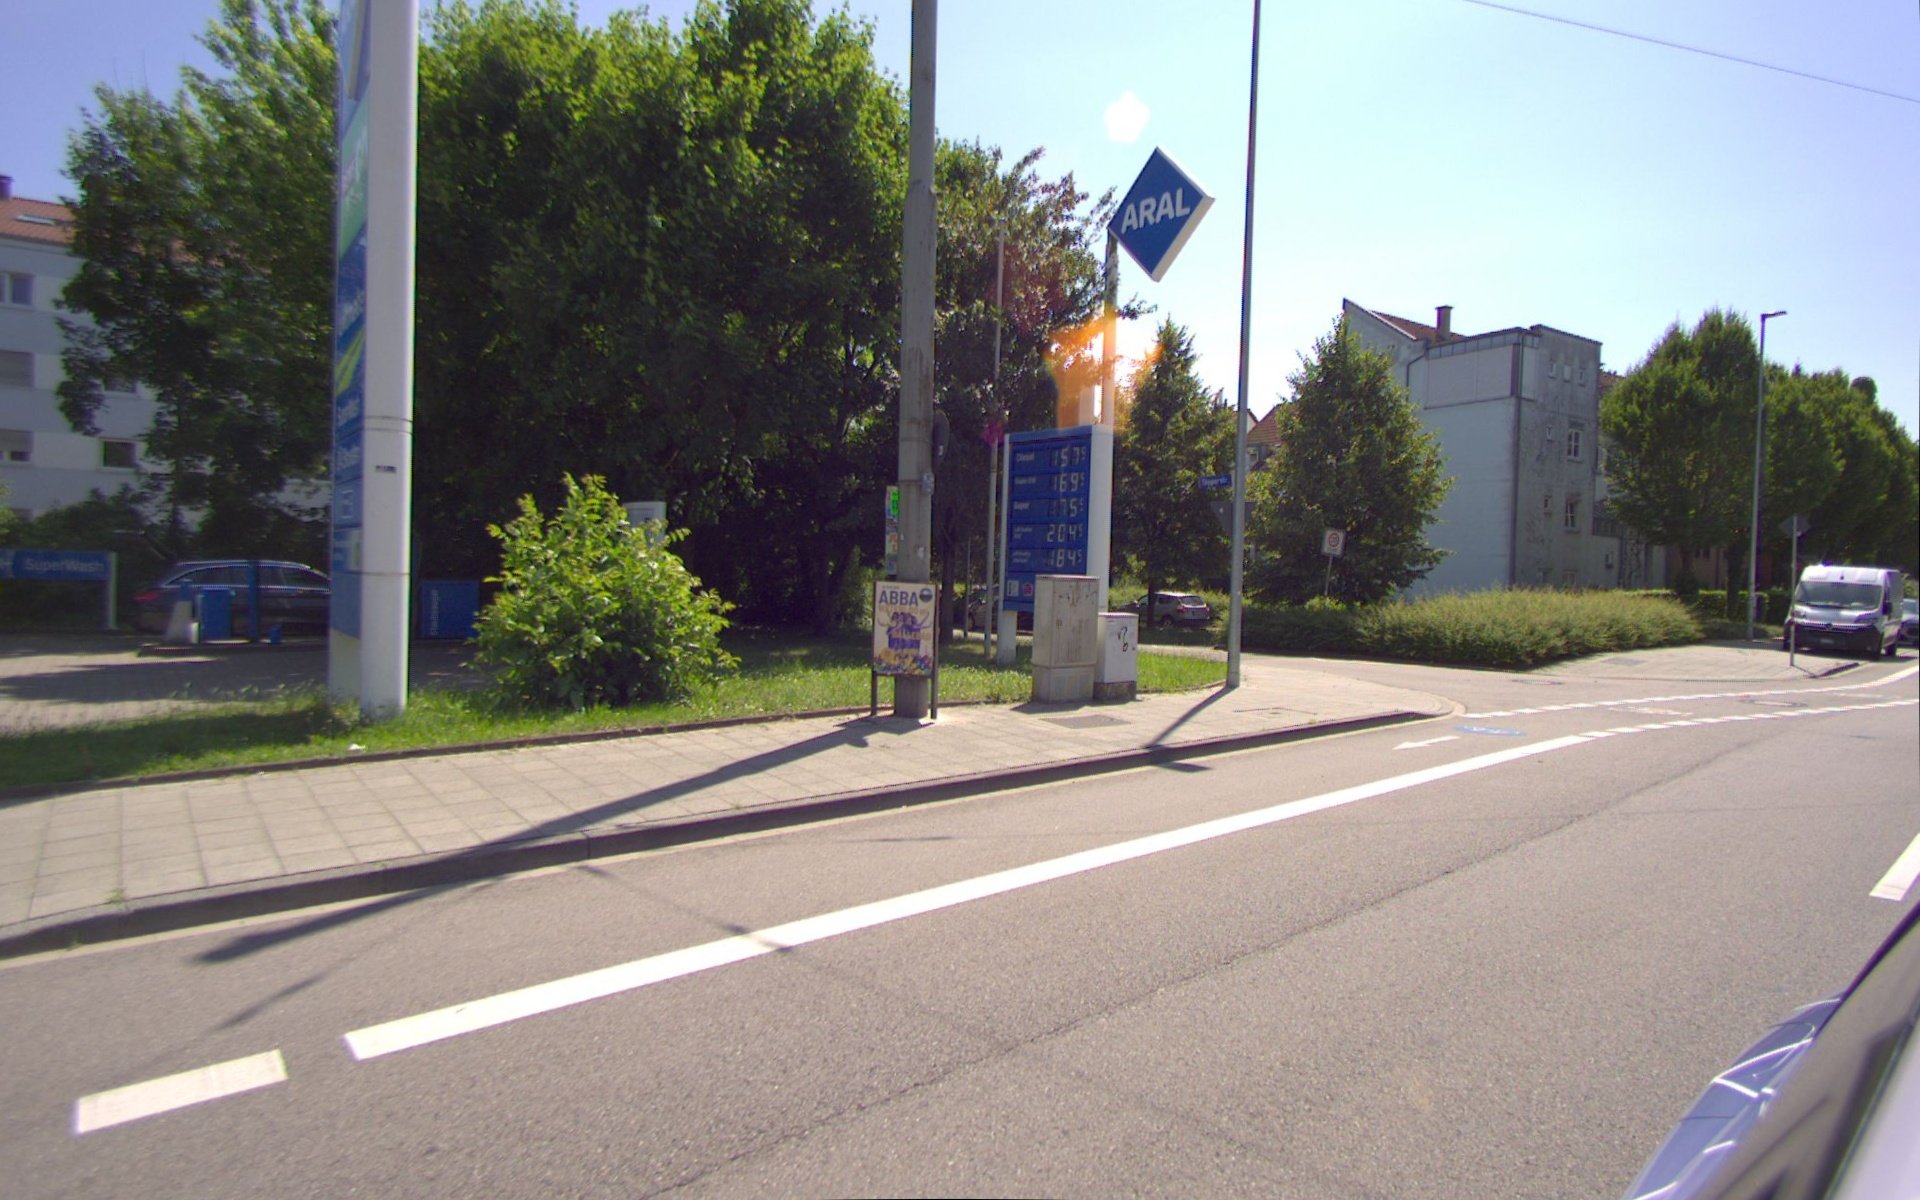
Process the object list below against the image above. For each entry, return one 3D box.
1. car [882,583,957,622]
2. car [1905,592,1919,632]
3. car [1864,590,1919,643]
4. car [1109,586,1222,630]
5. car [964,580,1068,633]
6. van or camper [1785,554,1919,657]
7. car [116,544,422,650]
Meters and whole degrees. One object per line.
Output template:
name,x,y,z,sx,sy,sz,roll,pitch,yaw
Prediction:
car,-1.763,0.078,42.797,1.806,1.507,4.008,1,1,-24
car,40.274,0.505,41.436,3.928,1.571,1.813,0,1,-40
car,32.595,0.547,34.839,3.933,1.653,1.825,0,3,-43
car,8.013,0.295,39.819,1.961,1.540,4.230,1,1,-33
car,1.896,0.176,35.655,1.959,1.708,4.007,1,1,-26
van or camper,25.265,0.105,28.519,5.891,2.513,2.125,0,4,-42
car,-12.251,-0.109,18.189,4.328,1.683,2.000,-1,2,-36
